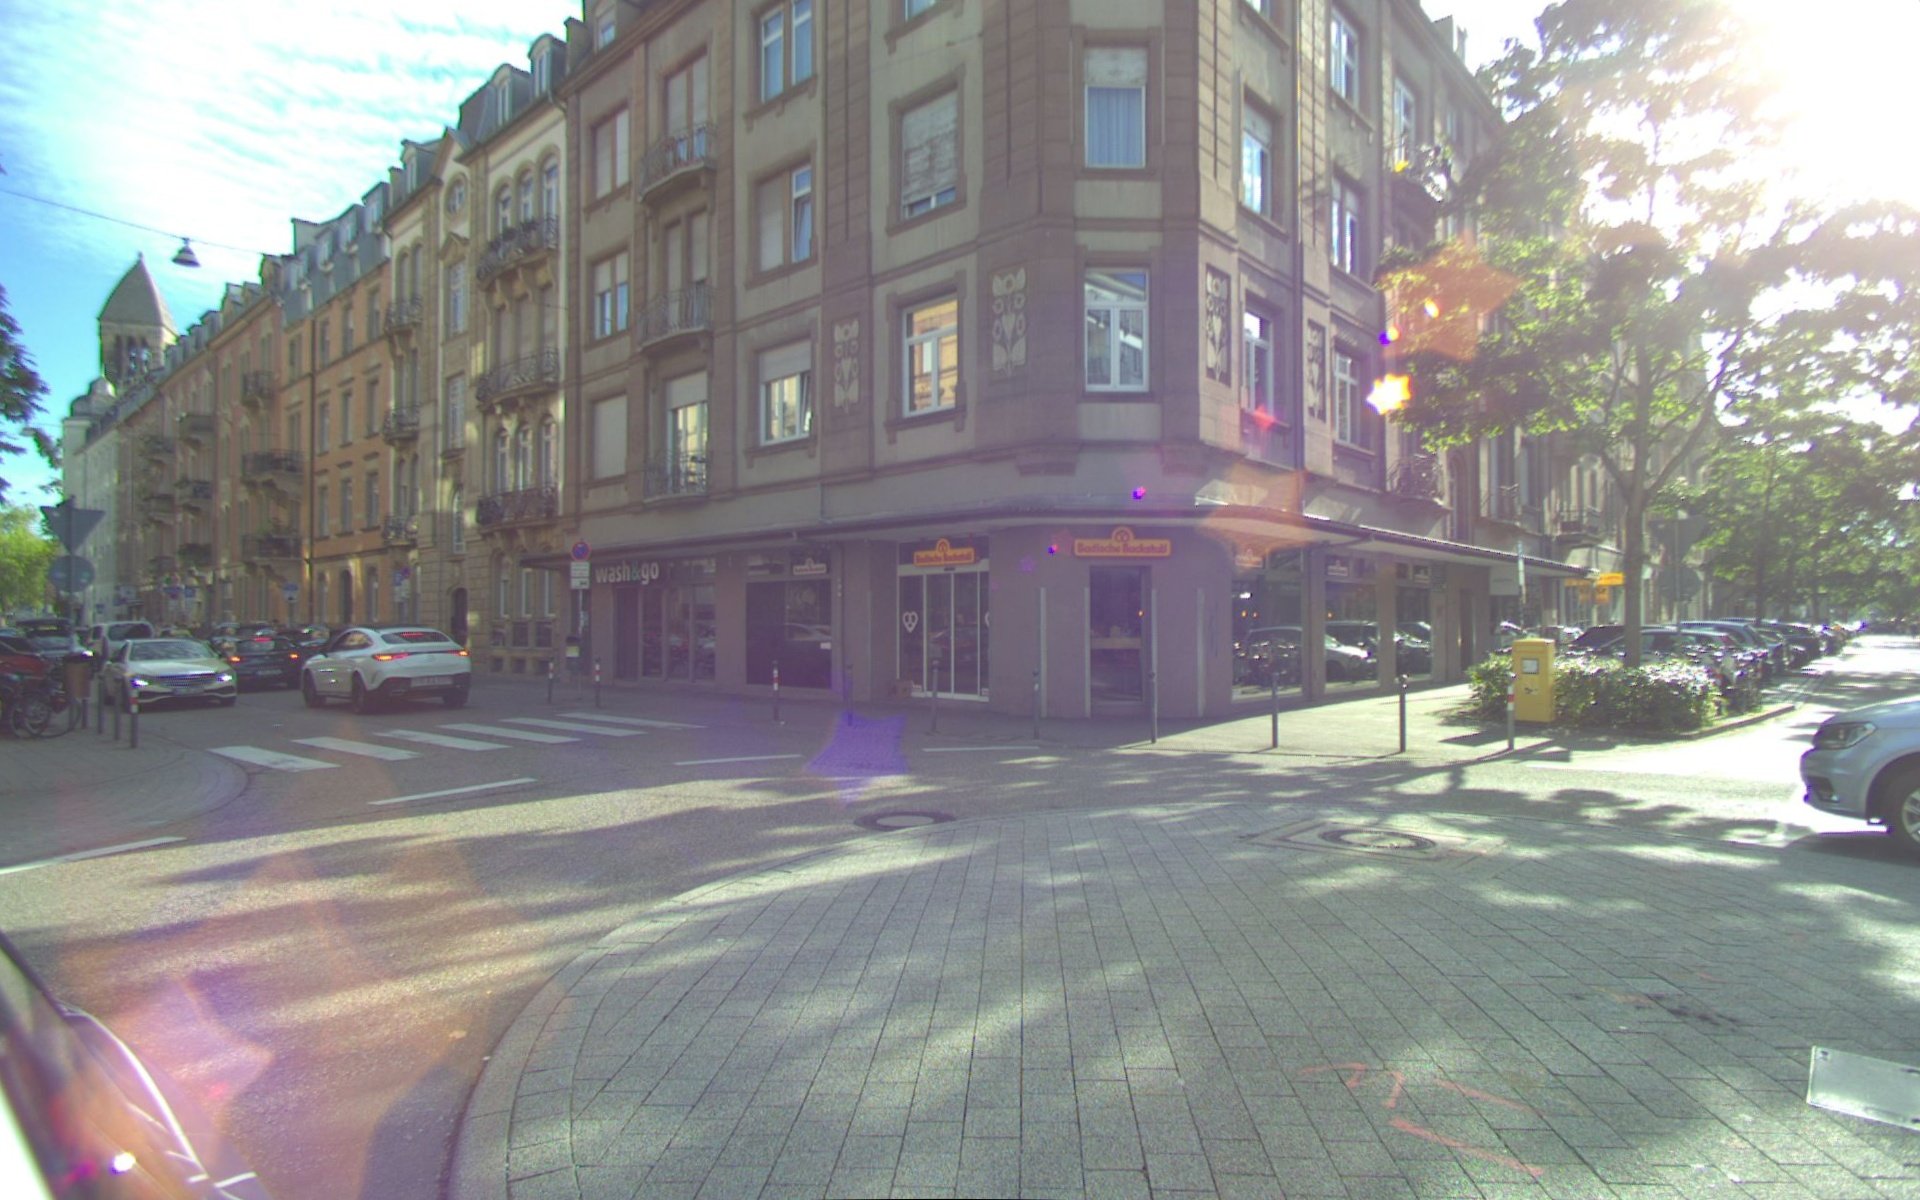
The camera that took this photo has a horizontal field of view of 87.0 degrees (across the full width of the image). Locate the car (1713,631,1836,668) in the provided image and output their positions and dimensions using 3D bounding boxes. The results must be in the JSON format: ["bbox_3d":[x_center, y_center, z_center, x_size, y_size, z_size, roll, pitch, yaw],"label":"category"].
[{"bbox_3d":[29.304,1.769,36.453,3.339,1.263,1.357,-2,-4,43],"label":"car"}]

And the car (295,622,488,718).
[{"bbox_3d":[-11.394,1.303,20.109,4.843,1.647,1.972,-2,-2,43],"label":"car"}]

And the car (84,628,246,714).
[{"bbox_3d":[-17.300,1.460,21.933,4.834,1.609,1.918,-2,-1,41],"label":"car"}]

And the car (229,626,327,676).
[{"bbox_3d":[-22.646,1.669,33.548,4.131,1.508,1.739,-2,-1,42],"label":"car"}]

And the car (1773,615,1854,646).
[{"bbox_3d":[47.794,1.709,56.707,3.360,1.605,1.573,-2,-1,44],"label":"car"}]

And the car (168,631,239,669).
[{"bbox_3d":[-30.062,1.957,40.185,3.761,1.389,1.603,-2,-2,43],"label":"car"}]

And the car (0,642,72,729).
[{"bbox_3d":[-16.158,1.307,15.498,1.500,1.391,3.568,0,-4,17],"label":"car"}]

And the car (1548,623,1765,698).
[{"bbox_3d":[15.263,1.276,22.300,1.554,1.488,3.701,-1,-1,-44],"label":"car"}]

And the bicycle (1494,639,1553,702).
[{"bbox_3d":[11.115,1.350,19.934,0.579,1.143,2.399,-2,-2,39],"label":"bicycle"}]

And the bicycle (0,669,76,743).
[{"bbox_3d":[-13.696,1.496,14.515,1.845,0.993,0.470,1,-3,12],"label":"bicycle"}]

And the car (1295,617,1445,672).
[{"bbox_3d":[12.532,1.337,31.001,3.988,1.563,1.747,-2,-1,33],"label":"car"}]

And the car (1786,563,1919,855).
[{"bbox_3d":[7.548,0.688,5.564,1.804,1.804,4.341,3,-2,-35],"label":"car"}]

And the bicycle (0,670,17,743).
[{"bbox_3d":[-14.003,1.442,13.926,1.845,0.993,0.470,1,-3,12],"label":"bicycle"}]

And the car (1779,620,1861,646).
[{"bbox_3d":[52.228,2.025,61.504,3.714,1.483,1.781,-2,-1,41],"label":"car"}]

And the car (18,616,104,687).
[{"bbox_3d":[-28.184,1.555,31.695,1.767,2.079,4.002,1,-2,-45],"label":"car"}]

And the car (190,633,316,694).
[{"bbox_3d":[-18.597,1.597,26.552,4.450,1.392,1.746,-1,0,42],"label":"car"}]

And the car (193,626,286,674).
[{"bbox_3d":[-26.566,1.816,37.270,4.337,1.610,1.740,-2,-1,39],"label":"car"}]

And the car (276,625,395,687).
[{"bbox_3d":[-18.214,1.564,29.445,4.398,1.596,1.836,-1,-1,43],"label":"car"}]

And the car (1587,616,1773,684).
[{"bbox_3d":[18.447,1.255,26.012,3.699,1.608,1.555,-2,-1,43],"label":"car"}]

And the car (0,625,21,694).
[{"bbox_3d":[-24.011,1.335,23.006,1.501,1.624,3.565,0,-4,19],"label":"car"}]

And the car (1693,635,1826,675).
[{"bbox_3d":[26.523,1.822,33.623,3.339,1.263,1.357,-2,-4,43],"label":"car"}]

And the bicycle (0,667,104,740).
[{"bbox_3d":[-13.681,1.517,14.967,1.845,0.993,0.470,1,-3,12],"label":"bicycle"}]

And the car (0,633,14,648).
[{"bbox_3d":[-90.200,3.817,95.143,3.761,1.389,1.603,-2,-2,43],"label":"car"}]

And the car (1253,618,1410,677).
[{"bbox_3d":[10.761,1.358,29.367,3.988,1.563,1.747,-2,-1,33],"label":"car"}]

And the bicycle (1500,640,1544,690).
[{"bbox_3d":[12.818,1.468,23.062,0.604,1.036,1.758,-2,-1,38],"label":"bicycle"}]

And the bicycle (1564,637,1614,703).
[{"bbox_3d":[11.966,1.291,19.220,0.478,1.143,2.399,-2,-2,39],"label":"bicycle"}]

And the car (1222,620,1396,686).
[{"bbox_3d":[9.072,1.363,26.425,3.988,1.563,1.747,-2,-1,33],"label":"car"}]

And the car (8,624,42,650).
[{"bbox_3d":[-74.578,2.937,80.738,4.011,1.947,1.703,-2,-2,43],"label":"car"}]

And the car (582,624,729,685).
[{"bbox_3d":[-9.210,1.609,30.878,1.994,1.633,3.955,-2,-1,33],"label":"car"}]

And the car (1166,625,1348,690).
[{"bbox_3d":[7.322,1.385,25.035,3.988,1.441,1.747,-2,-1,33],"label":"car"}]

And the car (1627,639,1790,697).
[{"bbox_3d":[19.912,1.781,26.992,3.339,1.454,1.357,-2,-4,43],"label":"car"}]

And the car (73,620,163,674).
[{"bbox_3d":[-32.108,1.742,38.543,4.834,1.894,1.918,-2,-1,41],"label":"car"}]

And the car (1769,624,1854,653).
[{"bbox_3d":[45.092,2.066,53.634,3.339,1.487,1.386,-2,-4,43],"label":"car"}]

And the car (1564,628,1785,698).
[{"bbox_3d":[16.865,1.436,24.015,4.074,1.488,1.555,-2,-1,43],"label":"car"}]

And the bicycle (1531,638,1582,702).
[{"bbox_3d":[11.556,1.314,19.567,0.478,1.143,2.399,-2,-2,39],"label":"bicycle"}]

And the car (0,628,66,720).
[{"bbox_3d":[-17.981,1.268,17.418,1.501,1.628,3.565,0,-4,19],"label":"car"}]
